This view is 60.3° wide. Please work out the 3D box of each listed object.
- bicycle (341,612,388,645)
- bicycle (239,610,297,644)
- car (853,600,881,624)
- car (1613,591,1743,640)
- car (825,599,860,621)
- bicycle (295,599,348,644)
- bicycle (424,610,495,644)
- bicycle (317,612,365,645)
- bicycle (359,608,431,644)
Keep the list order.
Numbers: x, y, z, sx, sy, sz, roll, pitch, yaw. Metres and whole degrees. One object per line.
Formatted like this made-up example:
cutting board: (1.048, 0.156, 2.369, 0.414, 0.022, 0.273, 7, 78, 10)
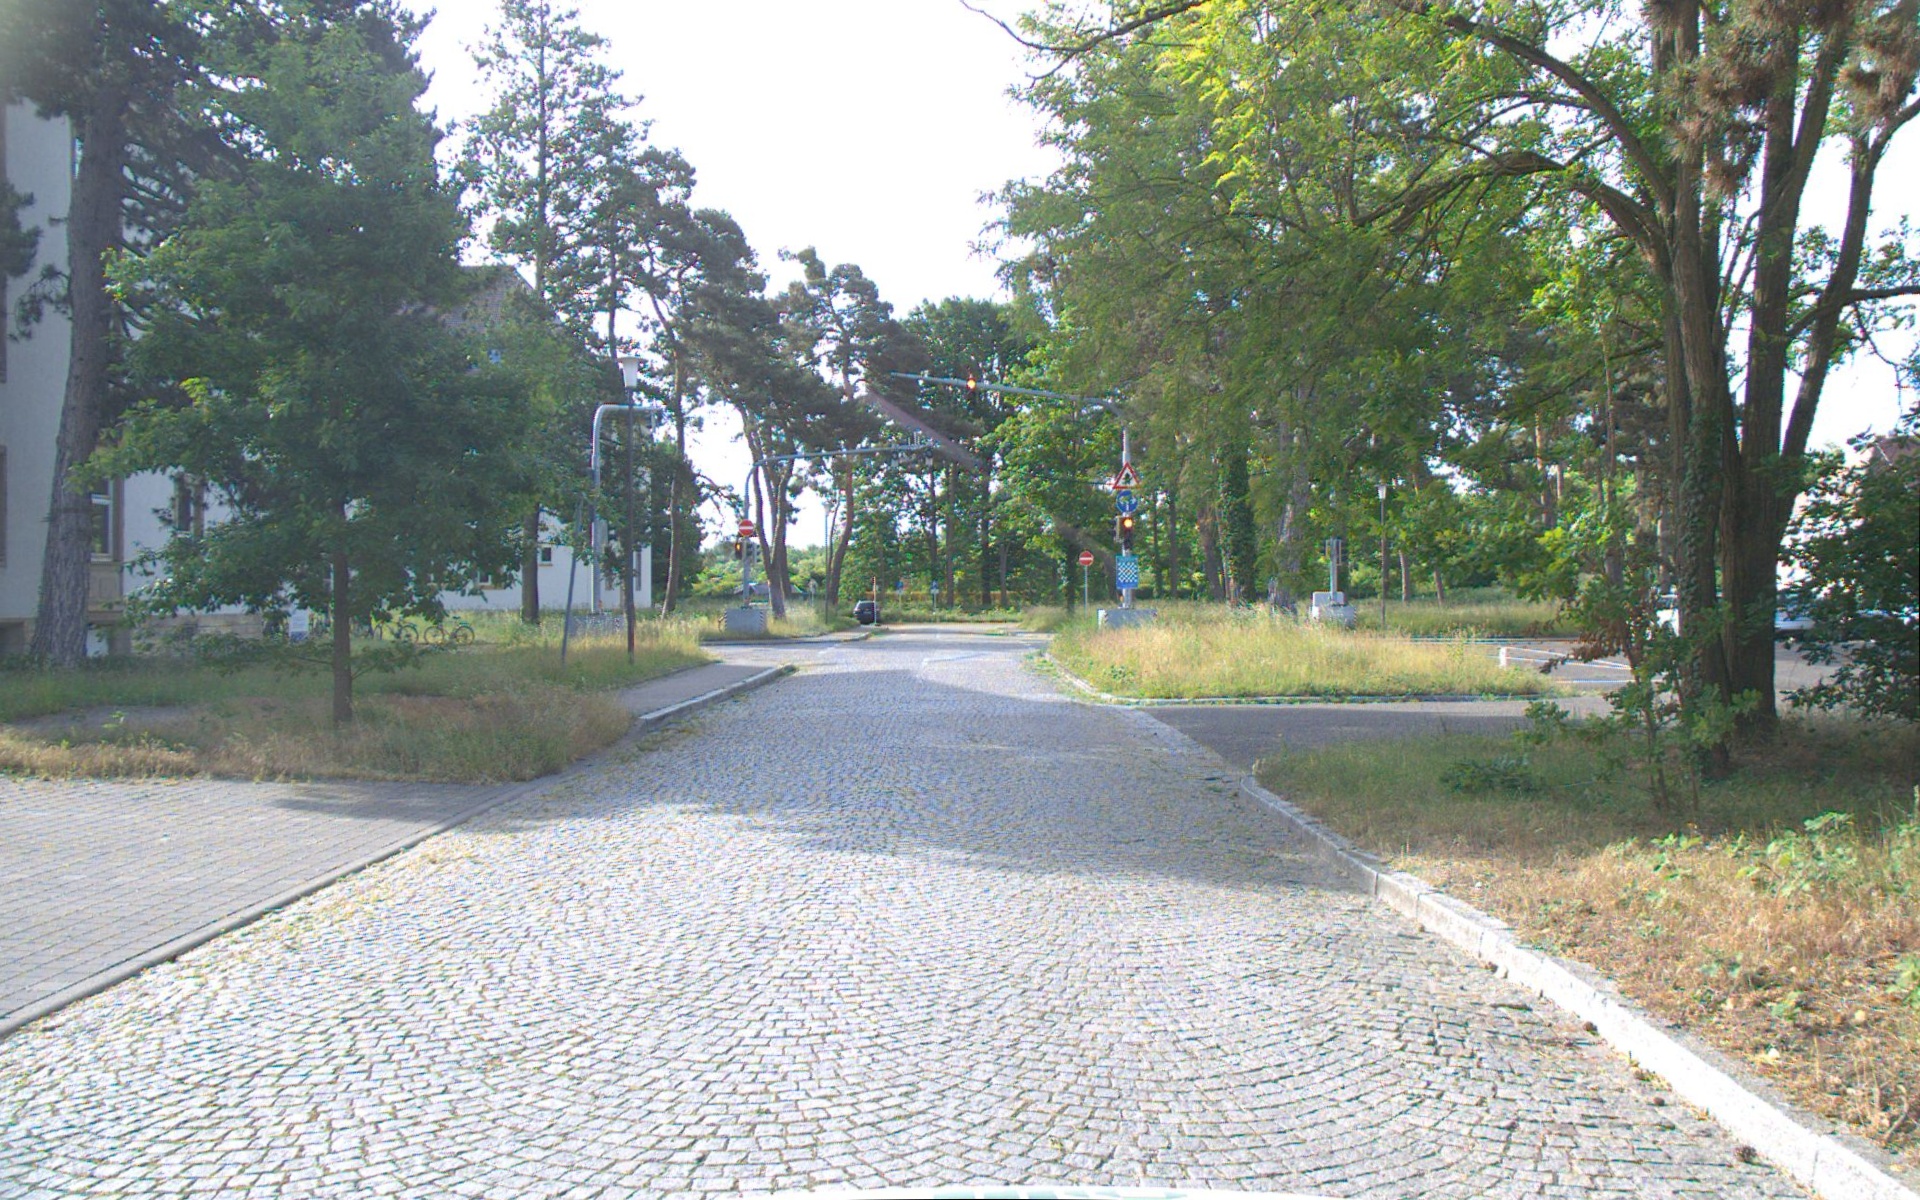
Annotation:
bicycle: (-19.889, 0.950, 55.267, 0.809, 1.065, 2.124, 0, 0, 0)
bicycle: (-23.075, 0.896, 55.228, 0.882, 1.065, 2.553, 0, 0, 0)
car: (-6.256, 0.797, 111.662, 1.808, 1.512, 3.998, 0, 0, -3)
car: (20.860, 0.428, 48.253, 1.696, 1.335, 4.329, 0, 0, -4)
car: (-8.255, 0.687, 116.448, 1.745, 1.516, 3.758, -1, 0, 7)
bicycle: (-21.435, 0.712, 55.549, 0.809, 1.462, 2.553, 0, 0, 0)
bicycle: (-16.371, 0.874, 54.150, 2.075, 1.065, 0.828, -1, 0, -4)
bicycle: (-20.656, 0.937, 55.215, 0.809, 1.065, 2.124, 0, 0, 0)
bicycle: (-18.454, 0.841, 54.033, 2.075, 1.128, 0.828, -1, 0, -4)
